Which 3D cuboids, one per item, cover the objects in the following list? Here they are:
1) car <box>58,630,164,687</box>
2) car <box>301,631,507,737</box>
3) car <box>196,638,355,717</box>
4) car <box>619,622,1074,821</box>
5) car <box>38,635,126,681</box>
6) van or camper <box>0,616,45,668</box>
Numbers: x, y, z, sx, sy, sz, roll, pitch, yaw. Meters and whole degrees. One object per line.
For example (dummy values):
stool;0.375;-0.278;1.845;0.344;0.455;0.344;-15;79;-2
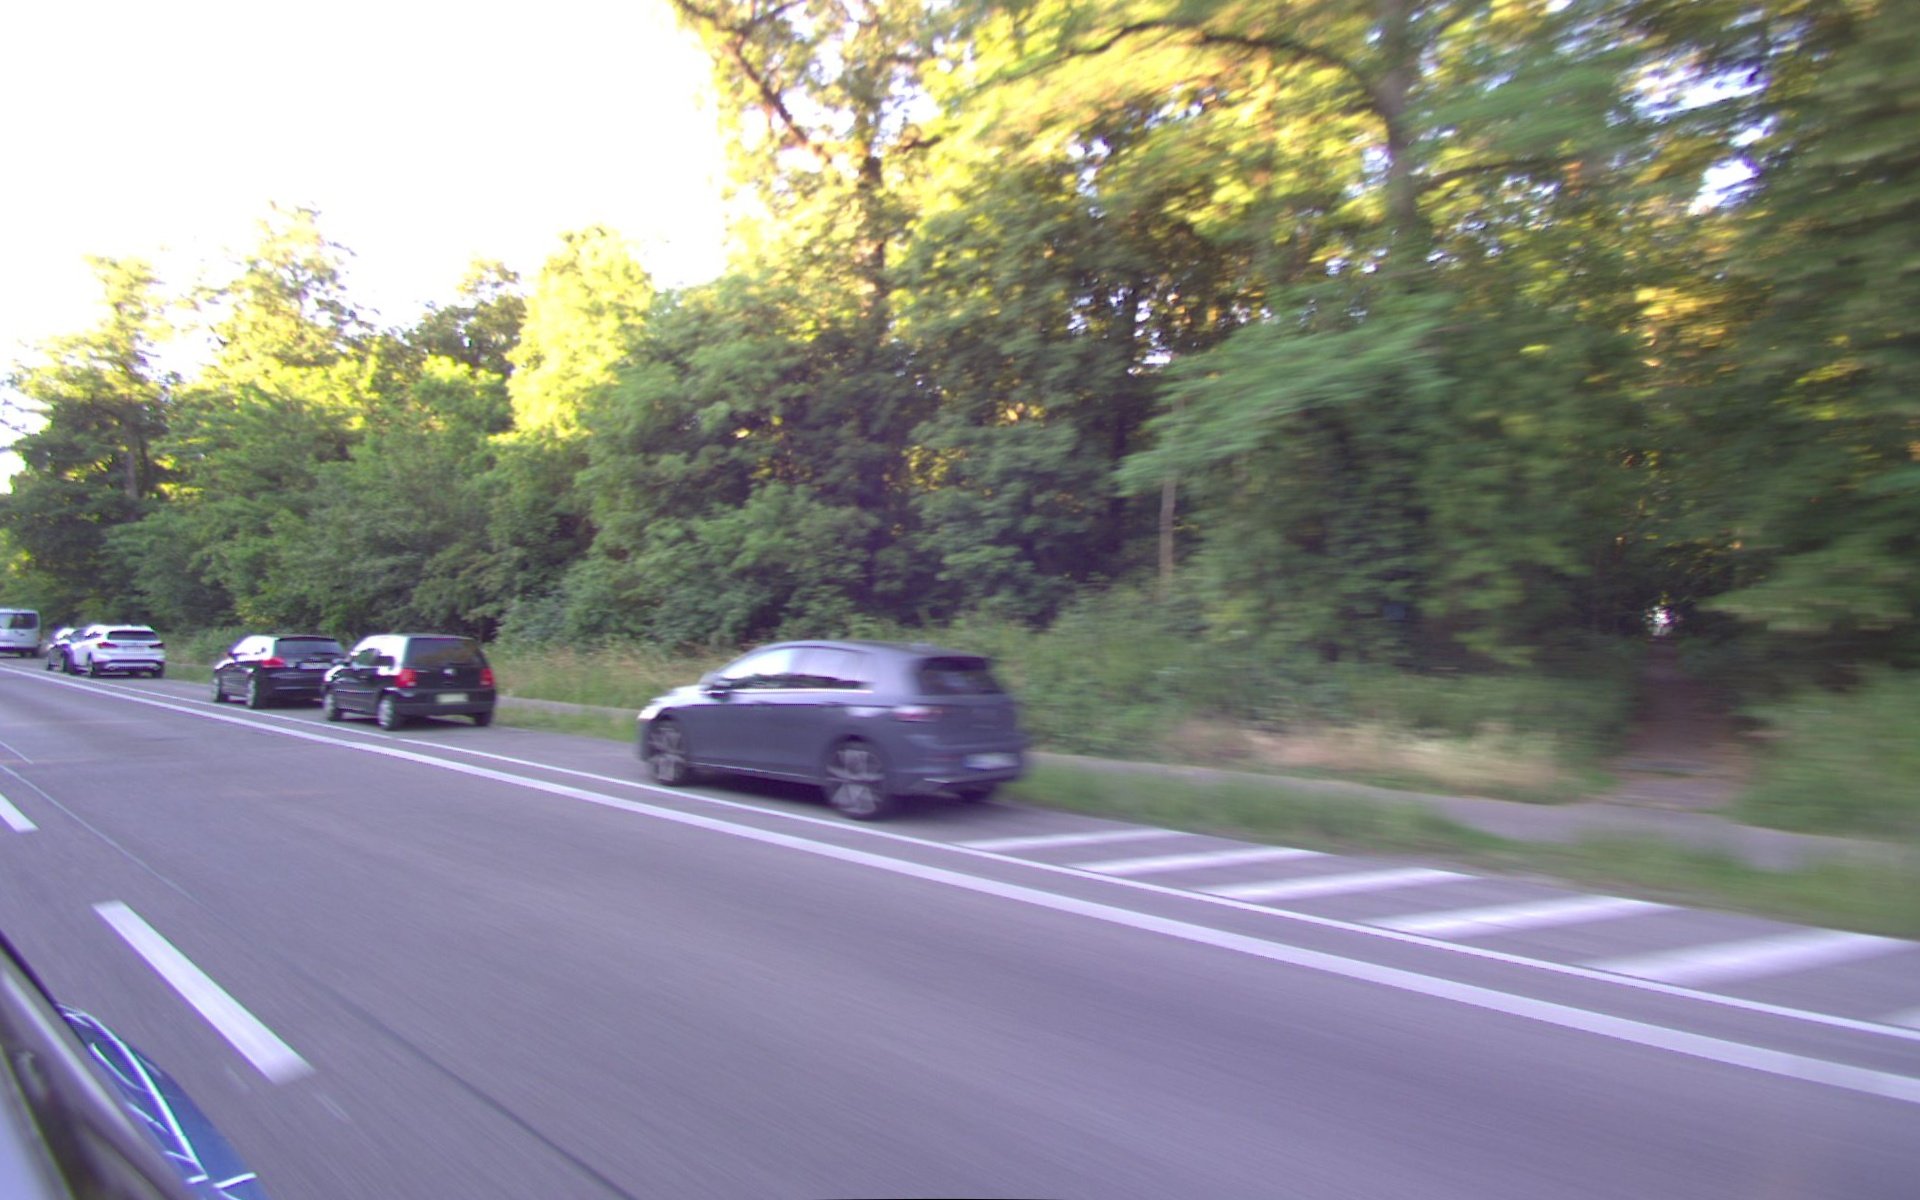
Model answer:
car;-26.607;1.789;31.657;4.568;1.658;1.678;-2;-4;39
car;-9.019;1.276;16.321;3.654;1.520;1.694;-2;-4;41
car;-13.700;1.470;20.169;4.049;1.405;1.581;-2;-3;41
car;-1.204;0.996;9.567;4.224;1.474;1.827;-2;-4;39
car;-30.423;1.979;35.042;3.732;1.532;1.655;-2;-4;39
van or camper;-47.292;2.057;50.025;6.376;2.409;2.089;-2;-5;40
